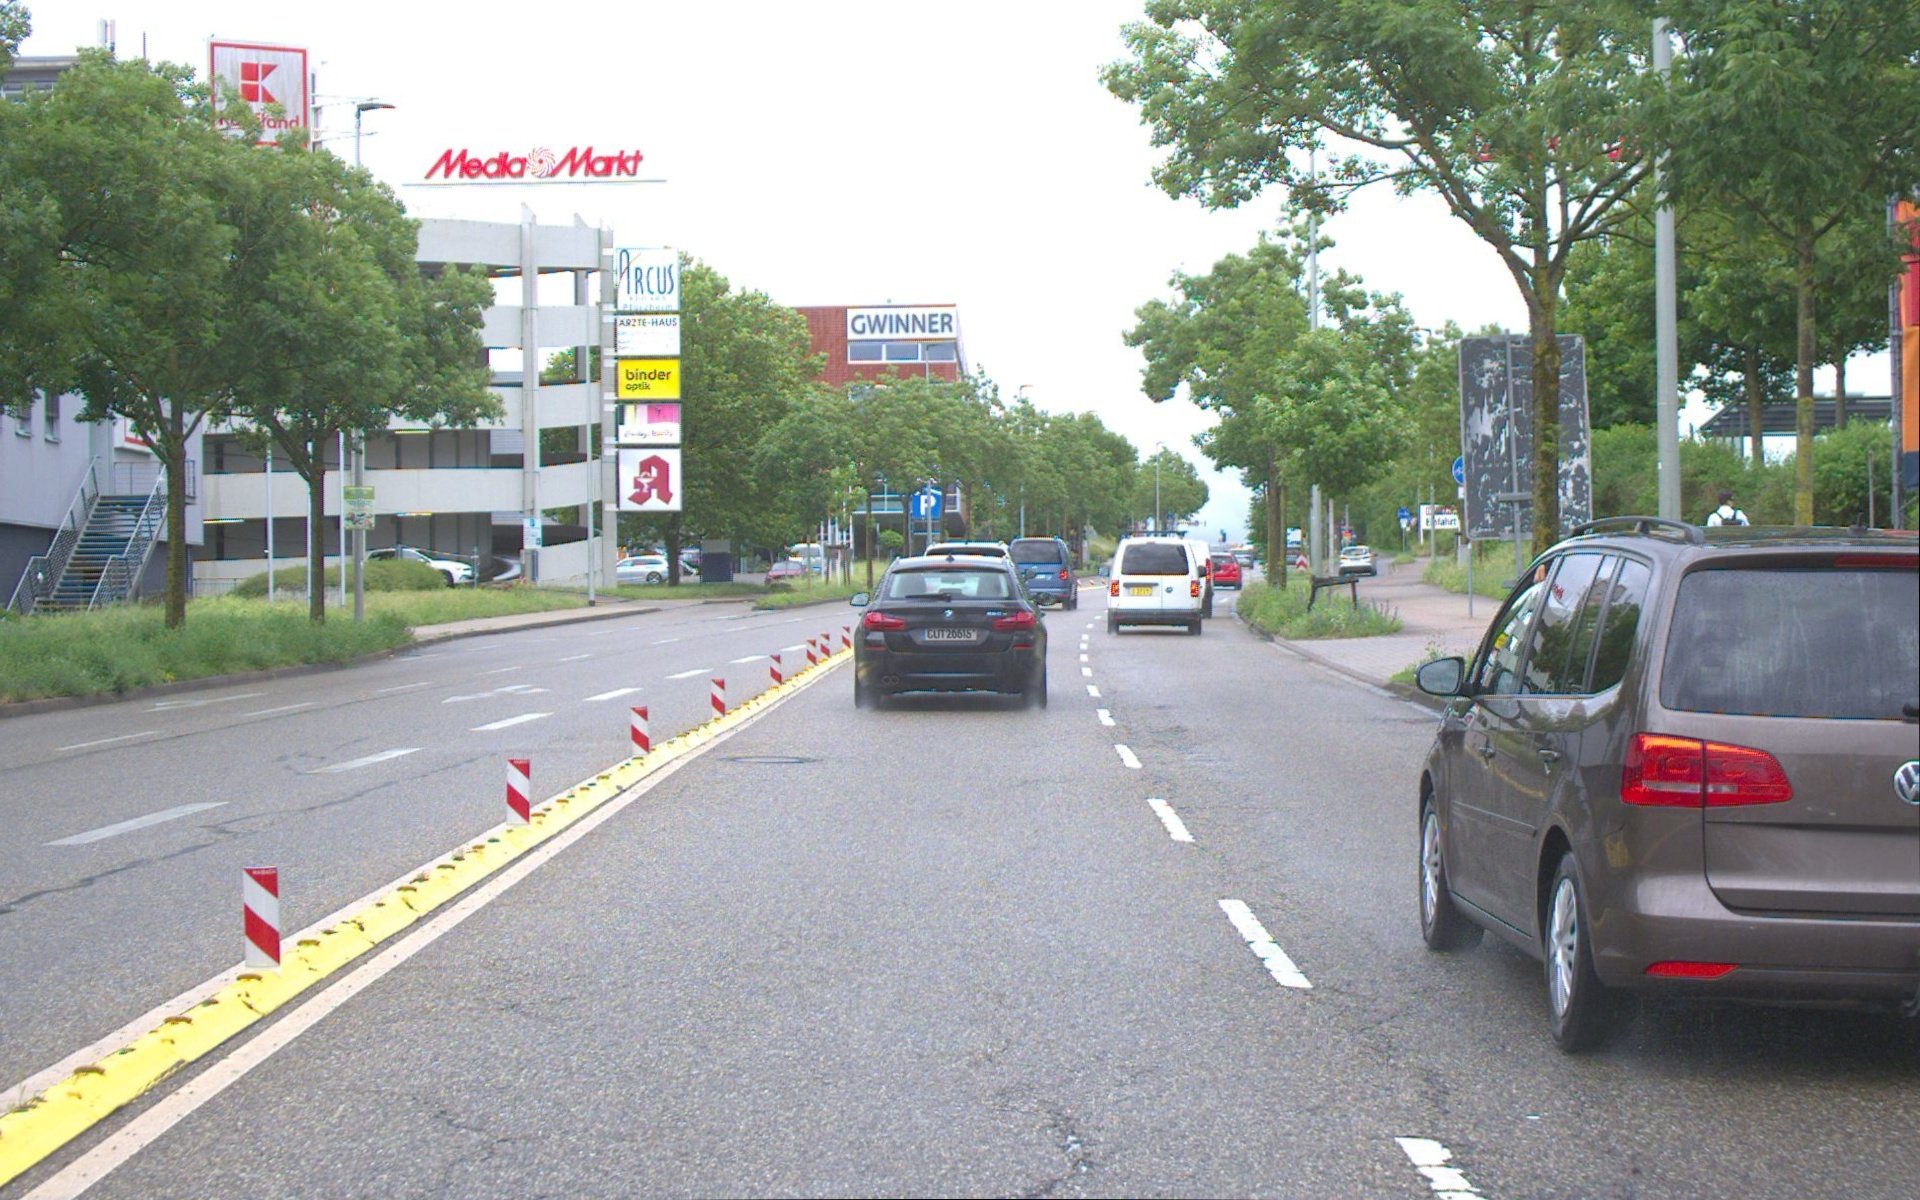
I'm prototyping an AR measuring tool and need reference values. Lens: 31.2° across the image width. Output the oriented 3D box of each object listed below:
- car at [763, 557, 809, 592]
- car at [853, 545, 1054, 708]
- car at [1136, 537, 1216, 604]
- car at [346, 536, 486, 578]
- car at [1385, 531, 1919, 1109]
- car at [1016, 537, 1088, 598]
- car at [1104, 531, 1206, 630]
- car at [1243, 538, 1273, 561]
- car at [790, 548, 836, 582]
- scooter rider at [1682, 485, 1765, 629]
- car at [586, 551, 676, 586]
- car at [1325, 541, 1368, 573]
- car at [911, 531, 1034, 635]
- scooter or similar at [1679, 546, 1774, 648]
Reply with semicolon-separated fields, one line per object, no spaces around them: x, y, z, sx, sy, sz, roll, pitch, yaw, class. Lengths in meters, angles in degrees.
-8.875;-1.316;175.495;1.933;1.603;4.711;1;2;2;car
-0.055;0.215;33.706;1.827;1.463;4.000;1;1;0;car
5.103;-0.689;81.463;1.794;1.505;4.000;1;0;3;car
-18.845;-1.495;119.188;4.413;1.403;1.904;0;1;16;car
2.579;0.583;11.564;1.685;1.575;4.219;1;1;-1;car
2.395;-0.843;89.017;1.794;1.505;4.000;1;0;2;car
3.638;-0.397;64.613;1.827;1.753;4.000;1;1;2;car
20.011;-3.385;231.069;1.794;1.505;4.000;1;0;2;car
-8.105;-1.943;189.902;2.039;1.756;4.945;1;2;4;car
9.927;-0.552;44.721;0.694;1.814;0.858;-3;-1;-8;scooter rider
-17.309;-1.657;180.935;4.598;1.740;1.967;0;2;-1;car
18.909;-2.104;168.152;1.794;1.505;4.000;1;0;3;car
0.231;-0.268;53.100;1.794;1.505;4.000;1;0;1;car
9.953;-0.029;44.676;0.694;1.259;1.401;-3;-1;-8;scooter or similar
